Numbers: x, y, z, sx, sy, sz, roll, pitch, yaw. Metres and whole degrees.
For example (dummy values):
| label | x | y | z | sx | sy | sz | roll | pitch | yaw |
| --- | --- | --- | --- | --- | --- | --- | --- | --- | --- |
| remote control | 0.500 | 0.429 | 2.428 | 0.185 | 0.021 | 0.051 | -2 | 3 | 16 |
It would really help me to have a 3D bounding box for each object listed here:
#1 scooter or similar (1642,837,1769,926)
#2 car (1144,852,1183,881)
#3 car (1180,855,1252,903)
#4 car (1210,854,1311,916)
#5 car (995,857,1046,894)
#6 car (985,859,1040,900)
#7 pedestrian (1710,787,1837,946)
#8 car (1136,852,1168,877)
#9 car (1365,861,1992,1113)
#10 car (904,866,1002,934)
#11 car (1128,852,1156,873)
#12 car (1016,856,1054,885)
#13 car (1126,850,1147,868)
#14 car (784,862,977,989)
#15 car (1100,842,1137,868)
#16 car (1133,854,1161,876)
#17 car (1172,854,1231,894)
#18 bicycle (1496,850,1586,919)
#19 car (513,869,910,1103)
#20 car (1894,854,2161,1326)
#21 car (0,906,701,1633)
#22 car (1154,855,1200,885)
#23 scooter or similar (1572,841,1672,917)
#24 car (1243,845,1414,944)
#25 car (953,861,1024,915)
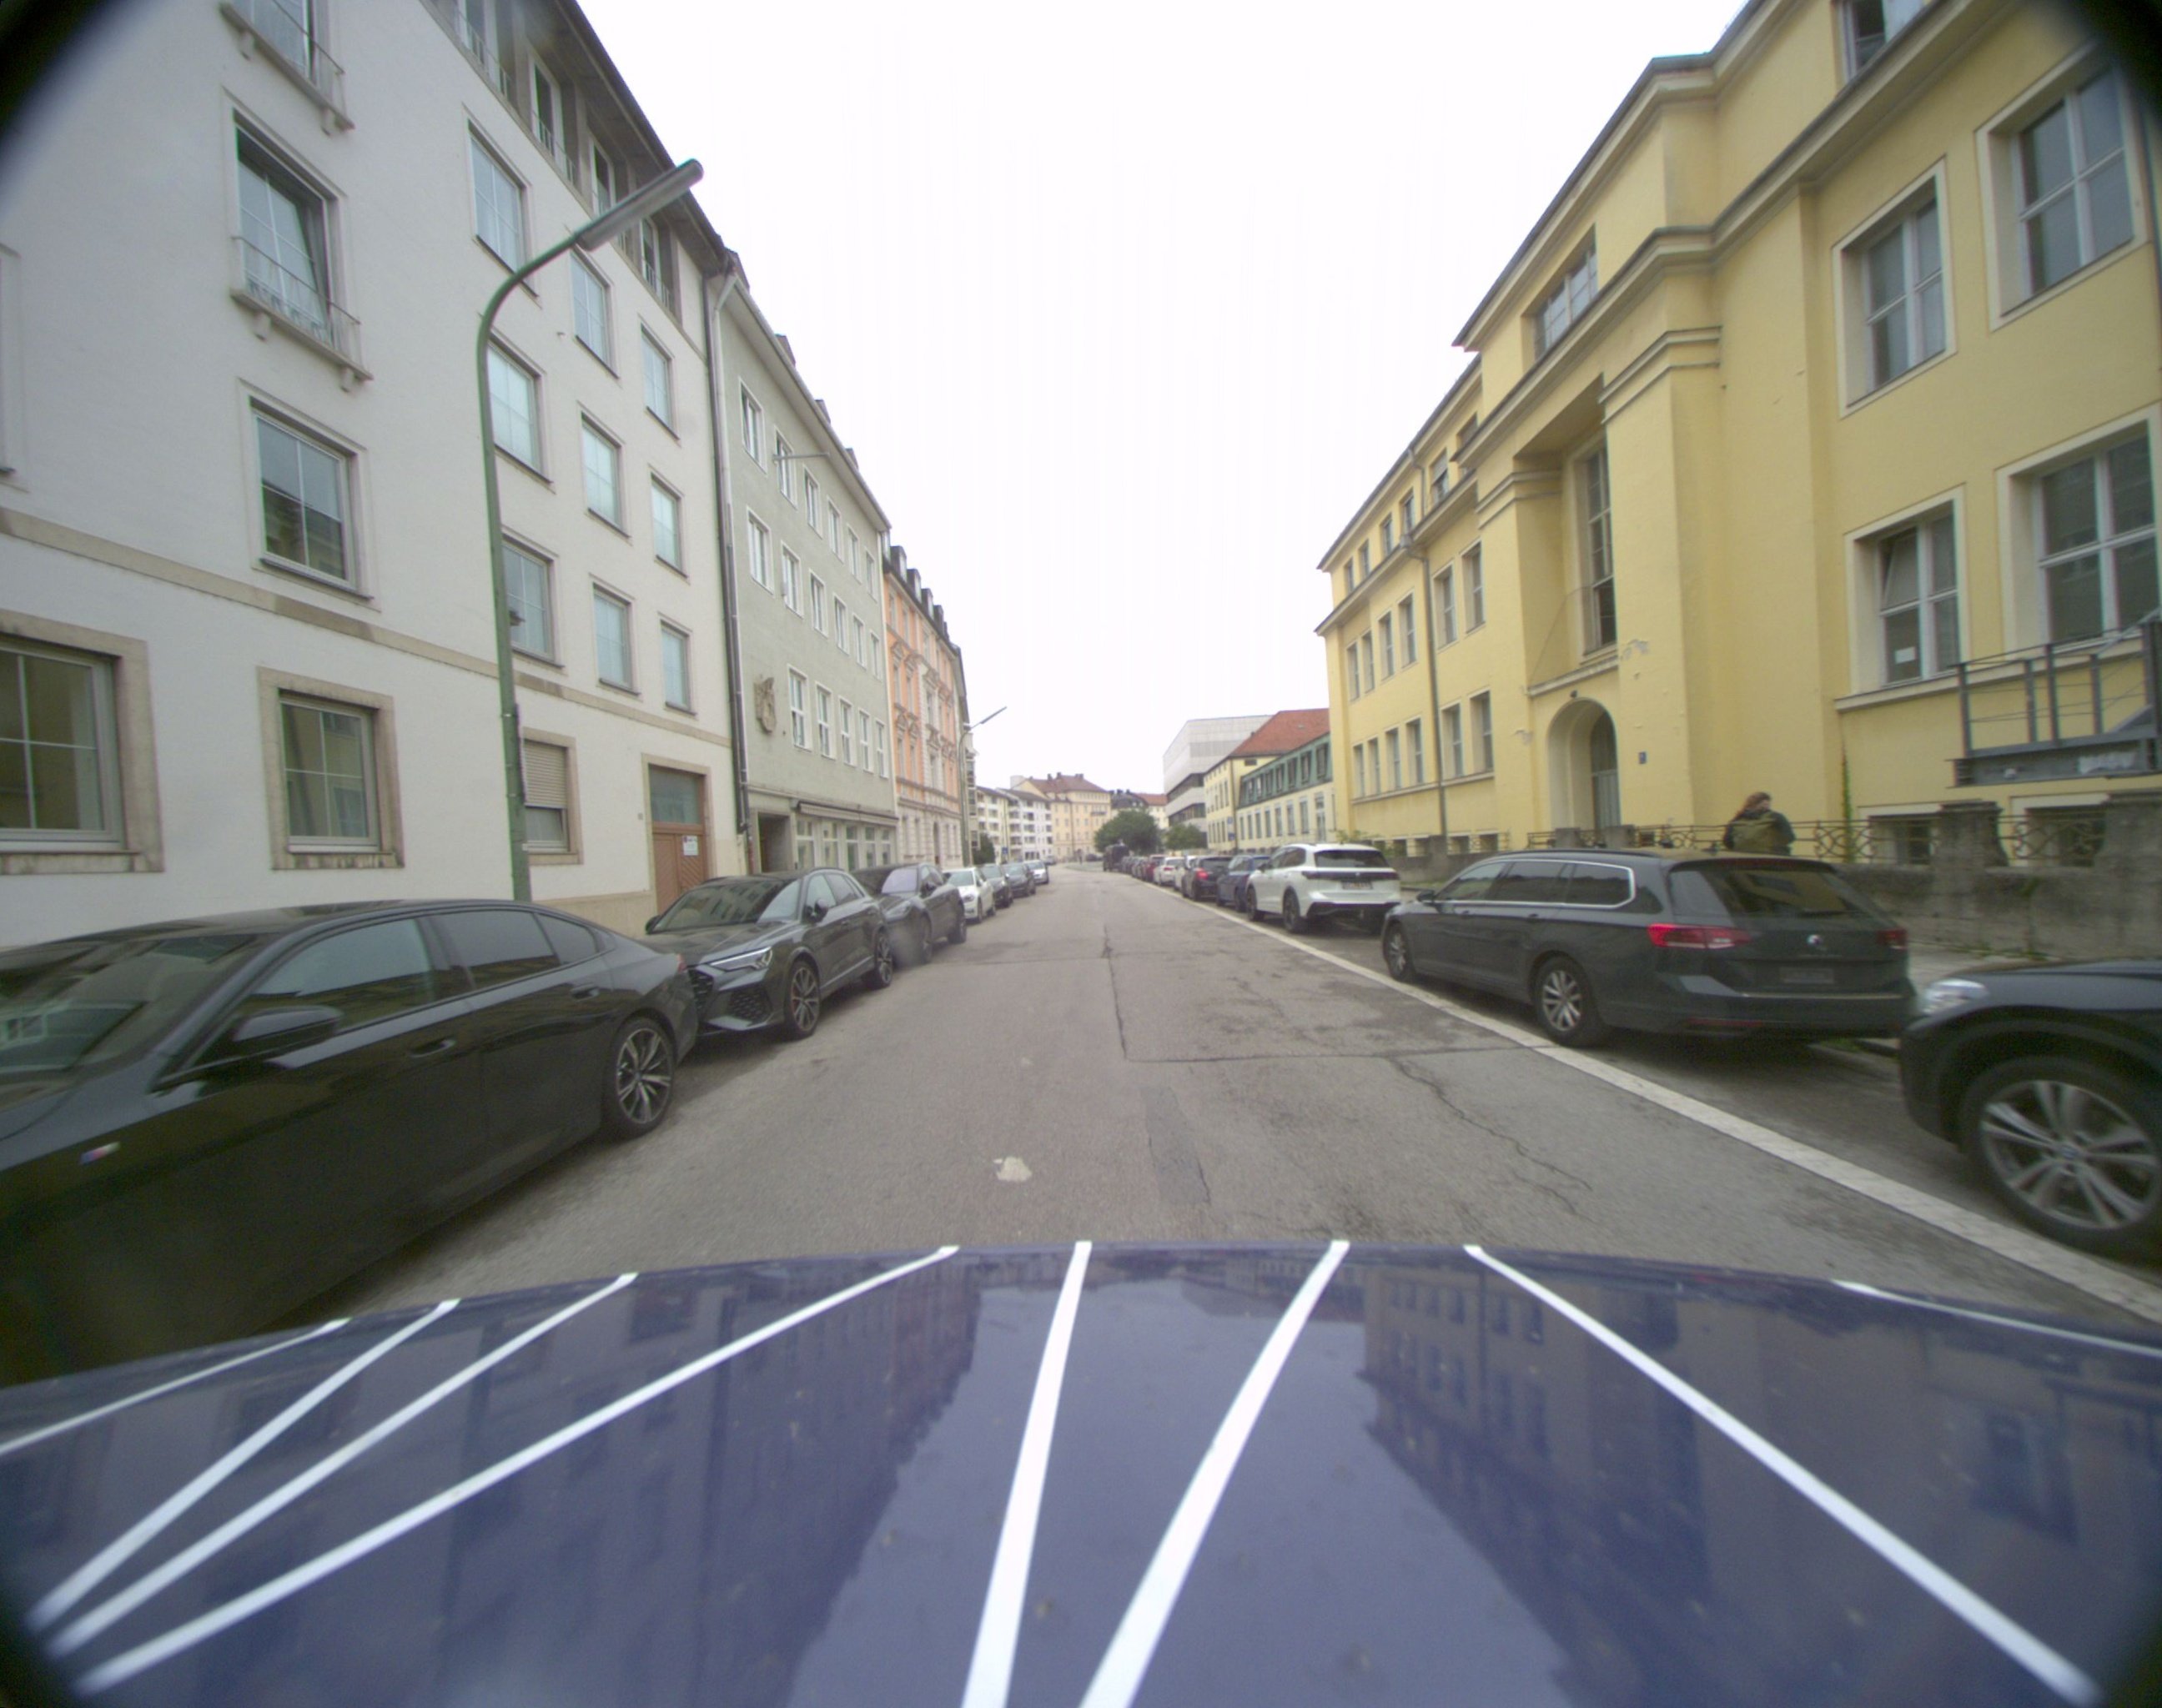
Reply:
| label | x | y | z | sx | sy | sz | roll | pitch | yaw |
| --- | --- | --- | --- | --- | --- | --- | --- | --- | --- |
| scooter or similar | 8.626 | 0.362 | 10.563 | 0.532 | 1.129 | 1.445 | -3 | 0 | 1 |
| car | 4.660 | 0.654 | 43.474 | 1.774 | 1.545 | 4.209 | 0 | 0 | 1 |
| car | 4.334 | 0.755 | 24.929 | 1.738 | 1.431 | 3.779 | 0 | 0 | 1 |
| car | 4.594 | 0.737 | 19.984 | 1.611 | 1.438 | 3.916 | 0 | 0 | -2 |
| car | -3.083 | 1.061 | 39.401 | 2.001 | 1.563 | 4.491 | -6 | 0 | 2 |
| car | -2.895 | 1.041 | 32.999 | 1.725 | 1.458 | 4.192 | -6 | 0 | 2 |
| pedestrian | 8.391 | 0.146 | 9.238 | 0.776 | 1.814 | 0.782 | -3 | 1 | 4 |
| car | 4.537 | 0.641 | 49.062 | 1.673 | 1.509 | 3.947 | -2 | 0 | 1 |
| car | 4.293 | 0.785 | 6.654 | 1.778 | 1.400 | 4.600 | 0 | 0 | -1 |
| car | -3.289 | 1.127 | 20.286 | 1.745 | 1.422 | 4.181 | -5 | 0 | 1 |
| car | 5.073 | 0.679 | 63.738 | 1.998 | 1.631 | 4.209 | -2 | 0 | 1 |
| car | -2.924 | 1.014 | 49.397 | 2.001 | 1.563 | 4.491 | -6 | 0 | 1 |
| car | 4.984 | 0.460 | 68.544 | 1.673 | 1.509 | 3.947 | -2 | 0 | 1 |
| car | -3.132 | 1.039 | 12.948 | 1.831 | 1.572 | 4.491 | -5 | 0 | 2 |
| car | 3.881 | 0.139 | 80.105 | 2.848 | 2.537 | 6.889 | -3 | 0 | -6 |
| car | 4.623 | 0.721 | 53.571 | 1.673 | 1.419 | 3.947 | -2 | 0 | 1 |
| car | 4.711 | 0.741 | 30.209 | 1.690 | 1.438 | 4.112 | -1 | 0 | 1 |
| bicycle | 8.663 | 0.540 | 14.398 | 0.585 | 1.181 | 1.765 | -4 | 0 | 1 |
| car | -3.366 | 1.073 | 8.127 | 1.831 | 1.572 | 4.491 | -5 | 0 | 2 |
| car | 4.339 | 0.757 | 1.092 | 1.774 | 1.494 | 4.273 | -1 | 0 | 0 |
| car | -3.476 | 1.138 | 2.654 | 1.878 | 1.439 | 4.699 | -5 | 0 | -1 |
| car | 4.710 | 0.752 | 37.752 | 1.816 | 1.390 | 4.020 | -1 | 0 | 1 |
| scooter or similar | 8.673 | 0.392 | 12.243 | 0.532 | 1.129 | 1.445 | -3 | -1 | 1 |
| car | 4.563 | 0.668 | 14.759 | 1.786 | 1.631 | 4.299 | 0 | 0 | -2 |
| car | -3.131 | 1.118 | 26.500 | 1.768 | 1.531 | 4.000 | -6 | 0 | 1 |
